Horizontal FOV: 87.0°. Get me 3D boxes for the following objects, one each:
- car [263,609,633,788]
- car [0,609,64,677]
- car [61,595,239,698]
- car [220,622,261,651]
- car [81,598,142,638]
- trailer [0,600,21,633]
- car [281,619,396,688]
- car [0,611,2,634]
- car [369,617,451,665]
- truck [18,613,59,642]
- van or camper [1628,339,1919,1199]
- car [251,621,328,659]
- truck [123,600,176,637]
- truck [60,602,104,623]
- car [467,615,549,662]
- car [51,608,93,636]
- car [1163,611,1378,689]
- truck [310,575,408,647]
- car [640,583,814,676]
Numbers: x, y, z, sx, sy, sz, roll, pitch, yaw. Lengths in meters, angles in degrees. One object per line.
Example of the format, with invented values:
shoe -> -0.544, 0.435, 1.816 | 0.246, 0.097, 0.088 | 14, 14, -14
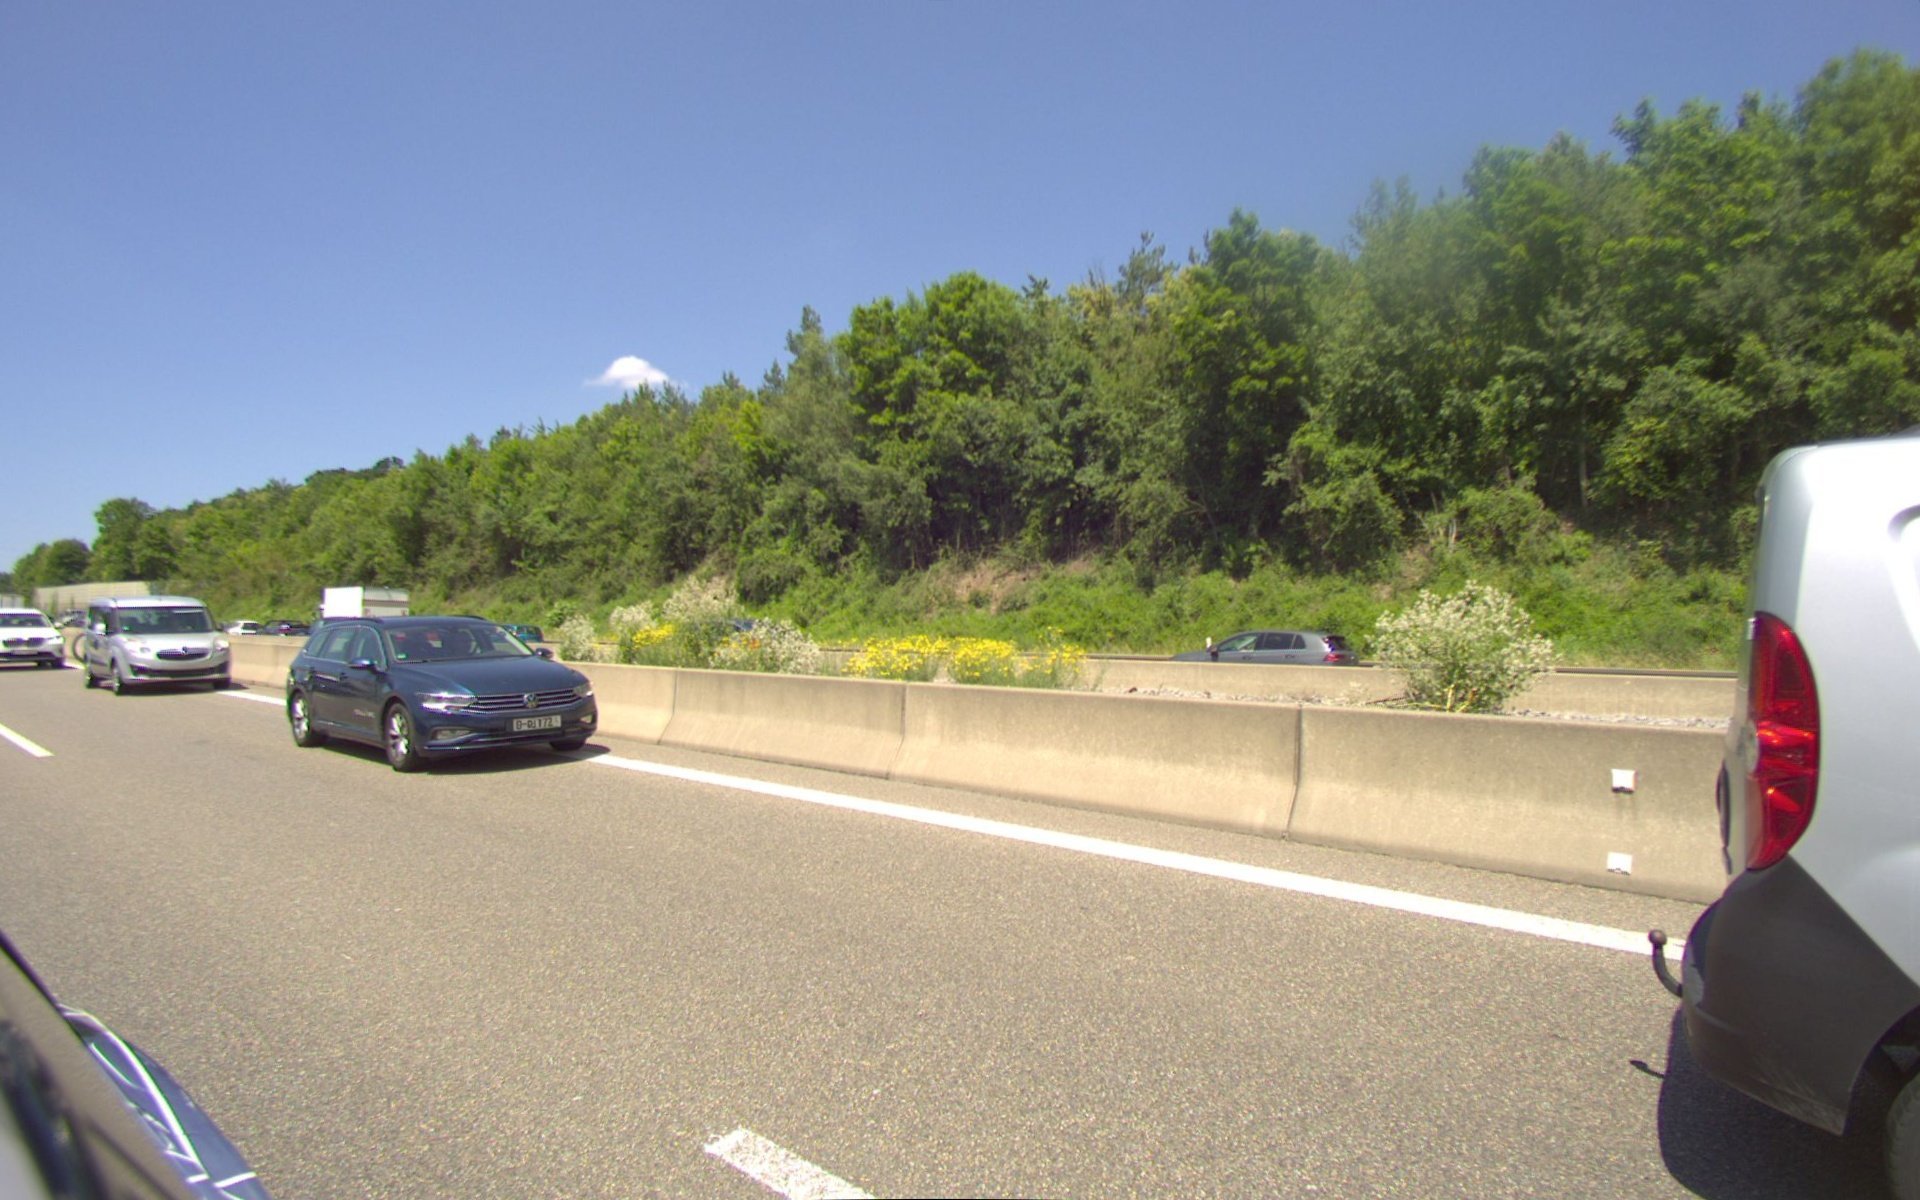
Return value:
car -> -5.522, 0.838, 10.615 | 4.675, 1.461, 1.855 | 0, 0, 41
car -> -26.182, 1.132, 27.849 | 3.998, 1.719, 1.800 | 0, 0, 41
car -> -16.028, 0.806, 19.935 | 4.914, 1.786, 1.834 | 0, 0, 40
car -> -54.587, 2.760, 76.752 | 3.511, 2.029, 1.832 | 0, 0, 41
car -> -45.111, 0.907, 53.794 | 3.999, 2.029, 1.972 | 0, 0, 42
trailer -> -133.357, 2.236, 140.717 | 10.811, 4.515, 2.919 | 0, 0, 41
car -> -19.009, 1.558, 30.890 | 3.998, 1.896, 1.887 | 0, 0, 41
car -> -87.477, 2.019, 90.915 | 1.971, 2.029, 4.960 | 0, 0, -45
car -> -25.261, 1.849, 46.433 | 3.997, 2.029, 1.973 | 0, 0, 40
truck -> -64.012, 1.902, 70.293 | 3.998, 1.962, 1.682 | -1, -1, 42
van or camper -> 3.818, 0.397, 1.432 | 4.560, 1.894, 1.833 | -2, -1, 42
car -> -30.522, 1.786, 46.047 | 3.998, 1.531, 1.973 | 0, 0, 41
truck -> -65.907, 1.471, 82.288 | 6.738, 2.906, 2.155 | 0, 0, 40
truck -> -87.949, 1.258, 101.323 | 6.487, 2.029, 2.327 | 0, 0, 40
car -> -21.126, 1.751, 47.242 | 3.997, 2.029, 1.973 | 0, 0, 40
car -> -69.600, 1.686, 79.310 | 4.418, 2.029, 1.972 | 0, 0, 42
car -> 6.622, 0.995, 21.776 | 3.999, 1.458, 1.972 | 0, 0, 42
truck -> -35.920, 0.590, 60.364 | 7.986, 4.019, 2.664 | 0, 0, 41
car -> -5.571, 0.641, 24.020 | 3.994, 2.029, 1.975 | 0, 0, 38
